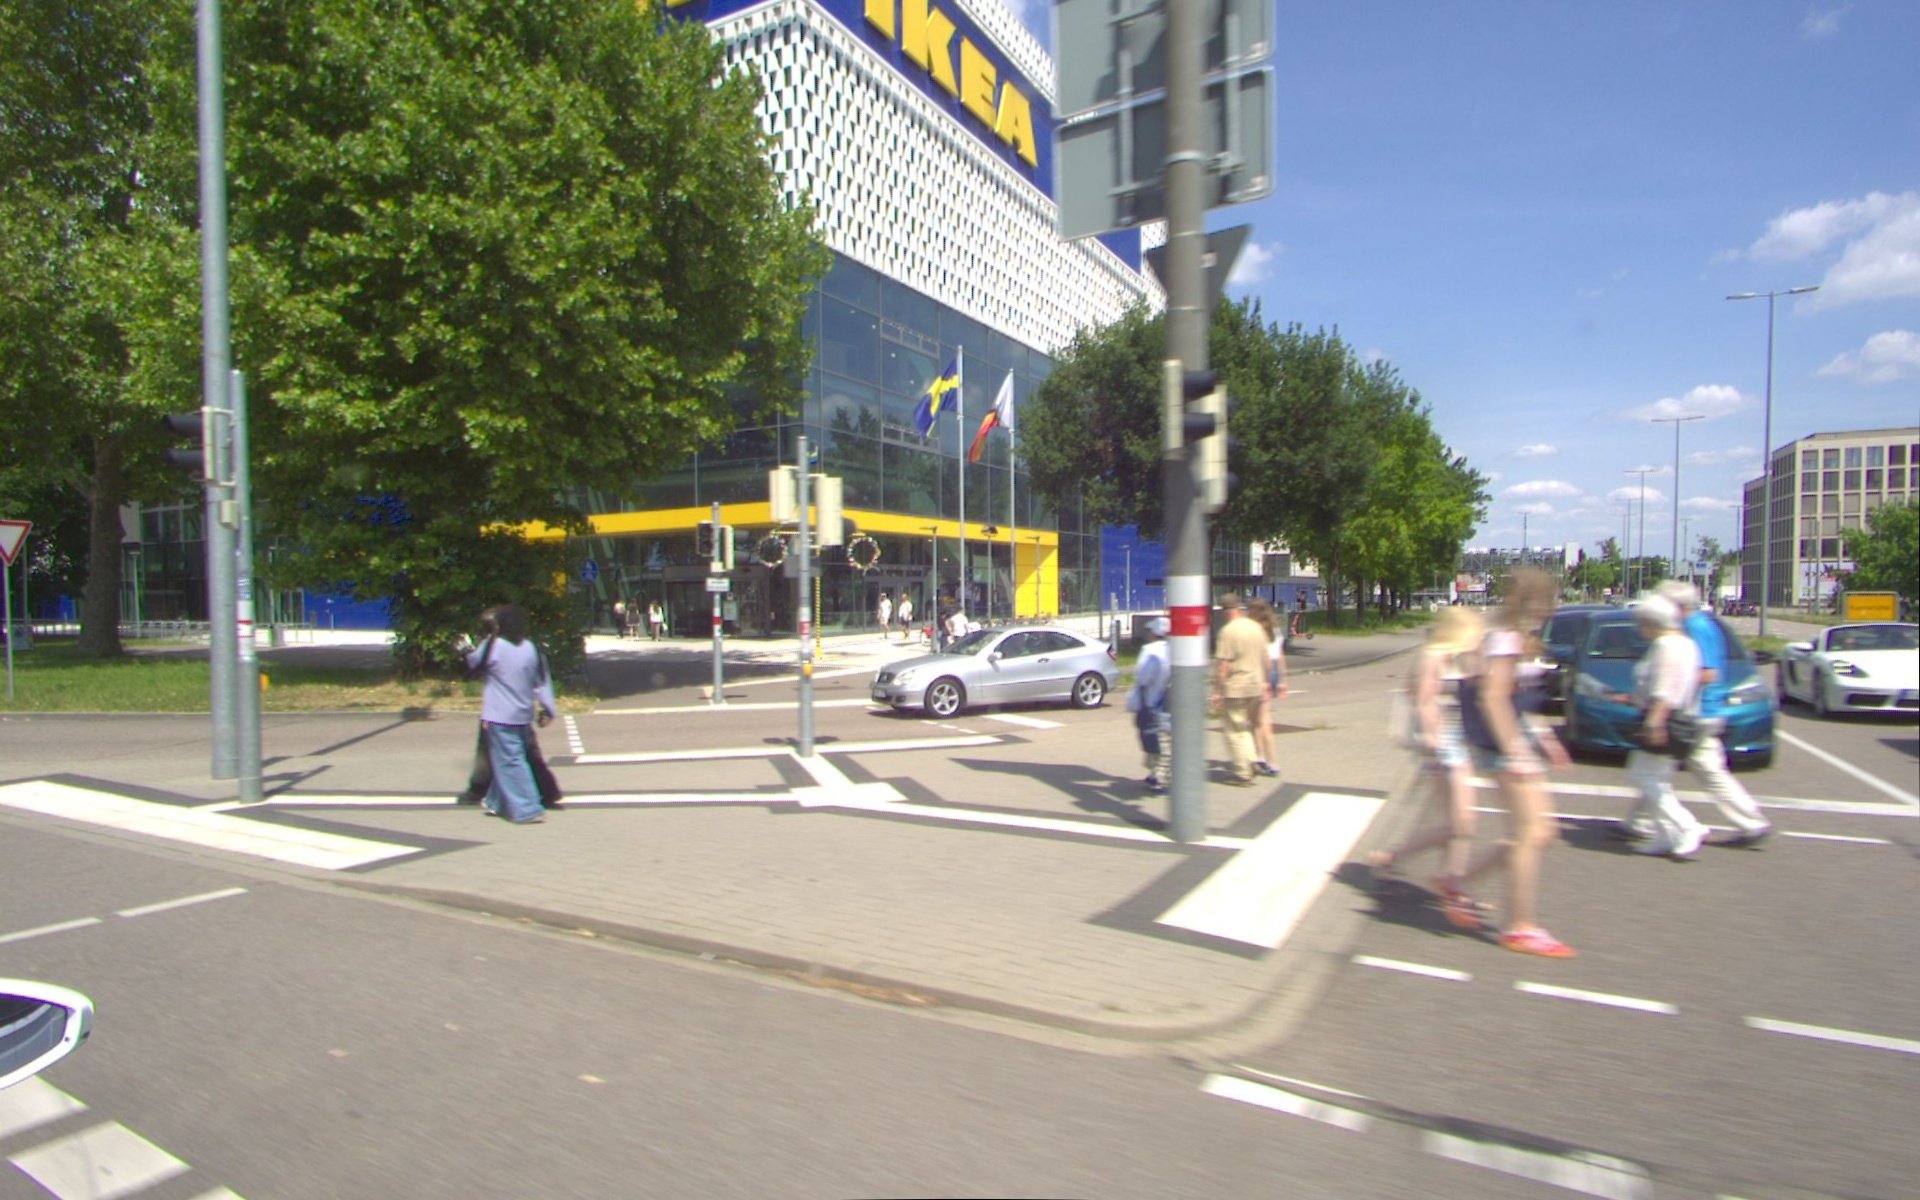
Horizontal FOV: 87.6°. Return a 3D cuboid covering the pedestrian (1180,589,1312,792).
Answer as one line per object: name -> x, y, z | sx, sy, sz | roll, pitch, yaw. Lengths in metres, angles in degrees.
pedestrian -> 2.526, 0.755, 8.845 | 0.789, 1.681, 0.844 | 0, 0, -44

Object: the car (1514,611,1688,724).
car -> 9.803, 0.922, 15.634 | 1.824, 1.462, 4.398 | 0, 0, 27

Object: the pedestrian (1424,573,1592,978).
pedestrian -> 2.504, 0.739, 4.568 | 0.631, 1.688, 0.526 | 0, 0, 34

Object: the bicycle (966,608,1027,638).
bicycle -> 1.500, 0.930, 40.974 | 2.389, 1.215, 0.801 | 0, 0, 16

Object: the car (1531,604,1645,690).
car -> 13.049, 0.919, 21.014 | 1.835, 1.605, 4.395 | -1, -1, 30

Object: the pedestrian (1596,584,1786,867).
pedestrian -> 4.664, 0.753, 6.405 | 0.598, 1.658, 0.856 | 0, -1, -43

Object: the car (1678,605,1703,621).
car -> 75.579, 1.365, 103.611 | 1.735, 1.633, 3.532 | 0, -1, 31

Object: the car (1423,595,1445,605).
car -> 85.045, 0.001, 179.569 | 3.494, 1.633, 1.792 | -1, 0, 29

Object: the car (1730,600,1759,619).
car -> 85.199, 1.081, 108.788 | 1.970, 2.040, 3.981 | 0, -1, 31

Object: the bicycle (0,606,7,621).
bicycle -> -63.826, 0.900, 65.269 | 0.746, 0.973, 2.316 | 0, 0, 24

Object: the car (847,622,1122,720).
car -> 0.430, 1.097, 16.557 | 4.255, 1.436, 1.725 | 0, -1, -27

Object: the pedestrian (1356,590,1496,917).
pedestrian -> 2.469, 0.758, 5.296 | 0.603, 1.600, 0.526 | 0, 0, 34

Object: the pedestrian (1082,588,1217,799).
pedestrian -> 1.603, 0.753, 8.548 | 0.785, 1.681, 0.849 | 0, 0, -24

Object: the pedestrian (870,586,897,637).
pedestrian -> -3.088, 0.456, 40.516 | 0.724, 2.040, 0.793 | 0, 1, 41

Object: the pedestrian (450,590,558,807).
pedestrian -> -3.799, 0.778, 8.338 | 0.618, 1.705, 0.719 | 0, 0, -43

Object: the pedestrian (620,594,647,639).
pedestrian -> -12.951, 0.653, 39.730 | 0.732, 1.759, 0.777 | 0, 1, 41

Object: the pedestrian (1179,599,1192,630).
pedestrian -> 12.136, 0.774, 53.848 | 0.570, 1.607, 0.766 | 0, 1, 24

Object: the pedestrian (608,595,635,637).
pedestrian -> -14.145, 0.662, 41.847 | 0.733, 1.759, 0.776 | 0, 1, 42

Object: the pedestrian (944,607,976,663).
pedestrian -> 0.013, 1.021, 29.468 | 0.623, 1.607, 0.918 | 0, 1, 24

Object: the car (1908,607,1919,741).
car -> 10.107, 0.775, 8.848 | 1.778, 1.415, 3.816 | 0, 0, 32

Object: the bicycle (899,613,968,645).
bicycle -> -0.972, 1.053, 36.539 | 2.389, 1.160, 0.801 | 0, 0, 16

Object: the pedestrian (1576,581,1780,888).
pedestrian -> 4.252, 0.744, 5.943 | 0.602, 1.658, 0.856 | 0, -1, -43

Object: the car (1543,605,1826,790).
car -> 7.494, 0.874, 10.793 | 1.969, 1.576, 3.983 | -1, -1, 29

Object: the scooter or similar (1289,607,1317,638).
scooter or similar -> 15.143, 0.998, 44.247 | 1.119, 1.337, 0.400 | 0, 1, 32

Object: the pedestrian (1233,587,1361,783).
pedestrian -> 3.078, 0.735, 9.141 | 0.789, 1.681, 0.844 | 0, 0, -44

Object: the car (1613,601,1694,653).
car -> 23.778, 0.890, 34.448 | 1.970, 1.661, 4.062 | 0, 0, 30

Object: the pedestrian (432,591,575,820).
pedestrian -> -3.525, 0.760, 7.722 | 0.760, 1.627, 0.888 | 0, 0, -43

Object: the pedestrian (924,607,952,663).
pedestrian -> -0.636, 1.023, 29.559 | 0.623, 1.607, 0.609 | 0, 1, 24

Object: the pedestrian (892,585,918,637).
pedestrian -> -2.180, 0.430, 39.722 | 0.723, 2.040, 0.794 | 0, 1, 37

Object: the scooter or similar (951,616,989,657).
scooter or similar -> 0.310, 1.083, 29.962 | 0.717, 1.214, 1.073 | 0, 0, 28

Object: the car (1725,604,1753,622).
car -> 87.430, 1.447, 112.448 | 1.970, 2.040, 3.981 | 0, -1, 31

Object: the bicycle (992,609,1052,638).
bicycle -> 2.619, 0.979, 42.112 | 2.389, 1.215, 0.801 | 0, 0, 16

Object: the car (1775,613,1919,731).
car -> 12.702, 0.917, 13.776 | 1.779, 1.415, 4.211 | -3, -3, 33

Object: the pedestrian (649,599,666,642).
pedestrian -> -11.990, 0.803, 39.679 | 0.575, 1.694, 0.607 | 0, 0, -8

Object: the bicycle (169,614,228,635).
bicycle -> -36.397, 1.161, 47.888 | 0.854, 0.982, 2.059 | 0, 0, 25
